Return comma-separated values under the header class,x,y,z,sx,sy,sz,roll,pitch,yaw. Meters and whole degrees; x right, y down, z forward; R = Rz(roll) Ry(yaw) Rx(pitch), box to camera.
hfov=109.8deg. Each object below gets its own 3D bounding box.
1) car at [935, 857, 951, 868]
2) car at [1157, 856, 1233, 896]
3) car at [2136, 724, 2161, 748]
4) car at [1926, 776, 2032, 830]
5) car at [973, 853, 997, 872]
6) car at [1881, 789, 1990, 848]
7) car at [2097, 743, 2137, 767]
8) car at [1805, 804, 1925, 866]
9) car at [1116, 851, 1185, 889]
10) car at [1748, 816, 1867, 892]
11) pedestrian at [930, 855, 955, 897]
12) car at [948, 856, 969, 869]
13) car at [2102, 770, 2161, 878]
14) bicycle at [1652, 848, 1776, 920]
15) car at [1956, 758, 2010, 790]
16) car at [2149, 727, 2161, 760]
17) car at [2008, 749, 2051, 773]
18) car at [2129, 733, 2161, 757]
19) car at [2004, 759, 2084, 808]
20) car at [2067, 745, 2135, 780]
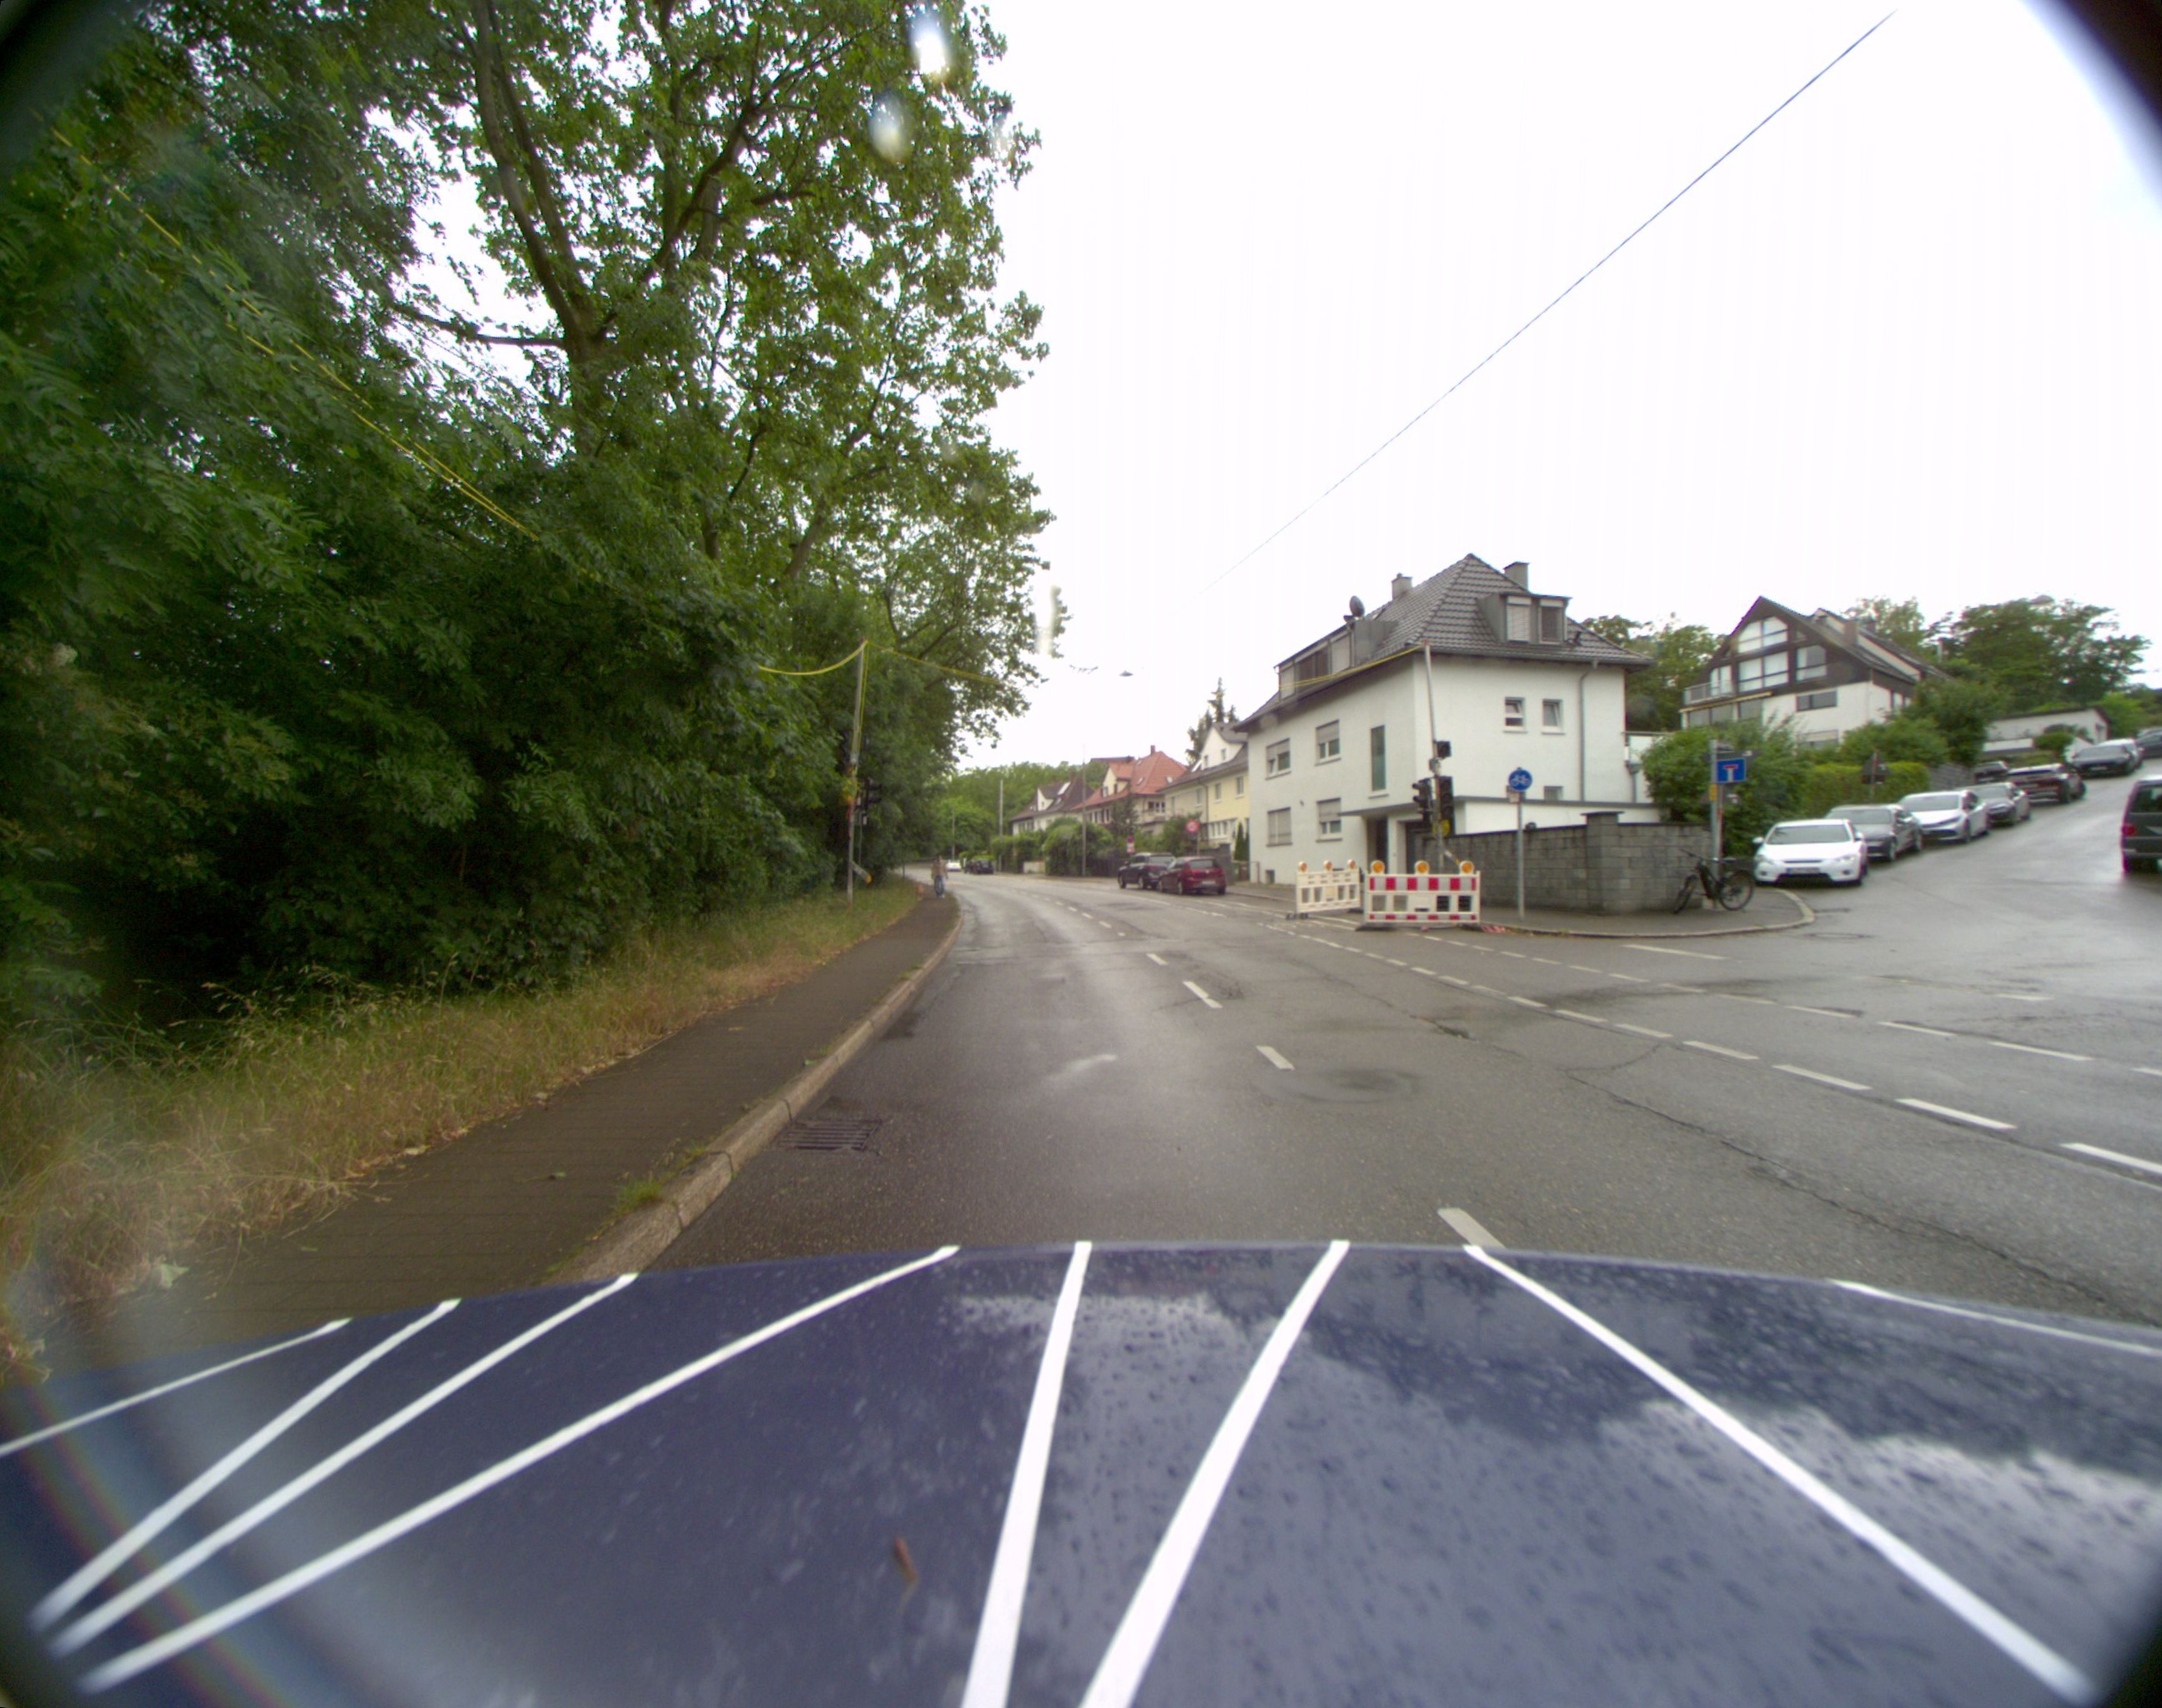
class,x,y,z,sx,sy,sz,roll,pitch,yaw
car,-18.742,1.127,103.001,1.691,1.419,3.770,-2,0,-17
car,4.383,0.816,29.895,1.787,1.423,3.844,-2,0,-10
car,81.120,-8.864,55.950,1.754,1.508,3.961,-3,1,-35
car,32.328,-1.832,27.324,4.111,1.430,1.921,-9,4,-33
car,-9.608,0.838,75.945,1.882,1.814,4.121,-2,0,-14
car,27.270,-1.153,24.222,3.951,1.462,1.755,-7,3,-33
car,59.838,-5.740,43.888,2.988,1.191,1.305,-6,3,-35
car,22.465,-0.558,21.749,3.910,1.380,1.719,-7,3,-34
car,3.130,0.710,35.023,1.798,1.630,4.150,-1,0,-15
car,17.777,-0.049,18.527,4.126,1.455,1.849,-7,4,-43
pedestrian,-5.192,0.817,28.454,0.735,1.490,0.785,-3,1,-1
car,-15.235,1.067,94.166,2.071,1.477,4.556,-2,0,-16
car,23.884,-0.752,16.251,4.497,2.003,1.996,-7,3,-31
bicycle,11.588,0.536,13.925,2.006,1.232,0.510,-2,3,-8
car,52.868,-4.648,44.507,4.020,1.545,1.812,-3,1,-37
car,72.466,-7.445,48.972,2.003,2.000,3.993,-2,-4,-32
car,57.240,-5.637,45.856,3.656,1.205,1.577,-7,3,-38
car,68.326,-6.935,47.688,1.286,1.310,2.945,-3,1,-36
car,40.720,-2.982,32.103,4.004,1.617,1.638,-8,4,-32
car,54.816,-4.878,40.831,4.034,1.511,1.786,-2,0,-31
